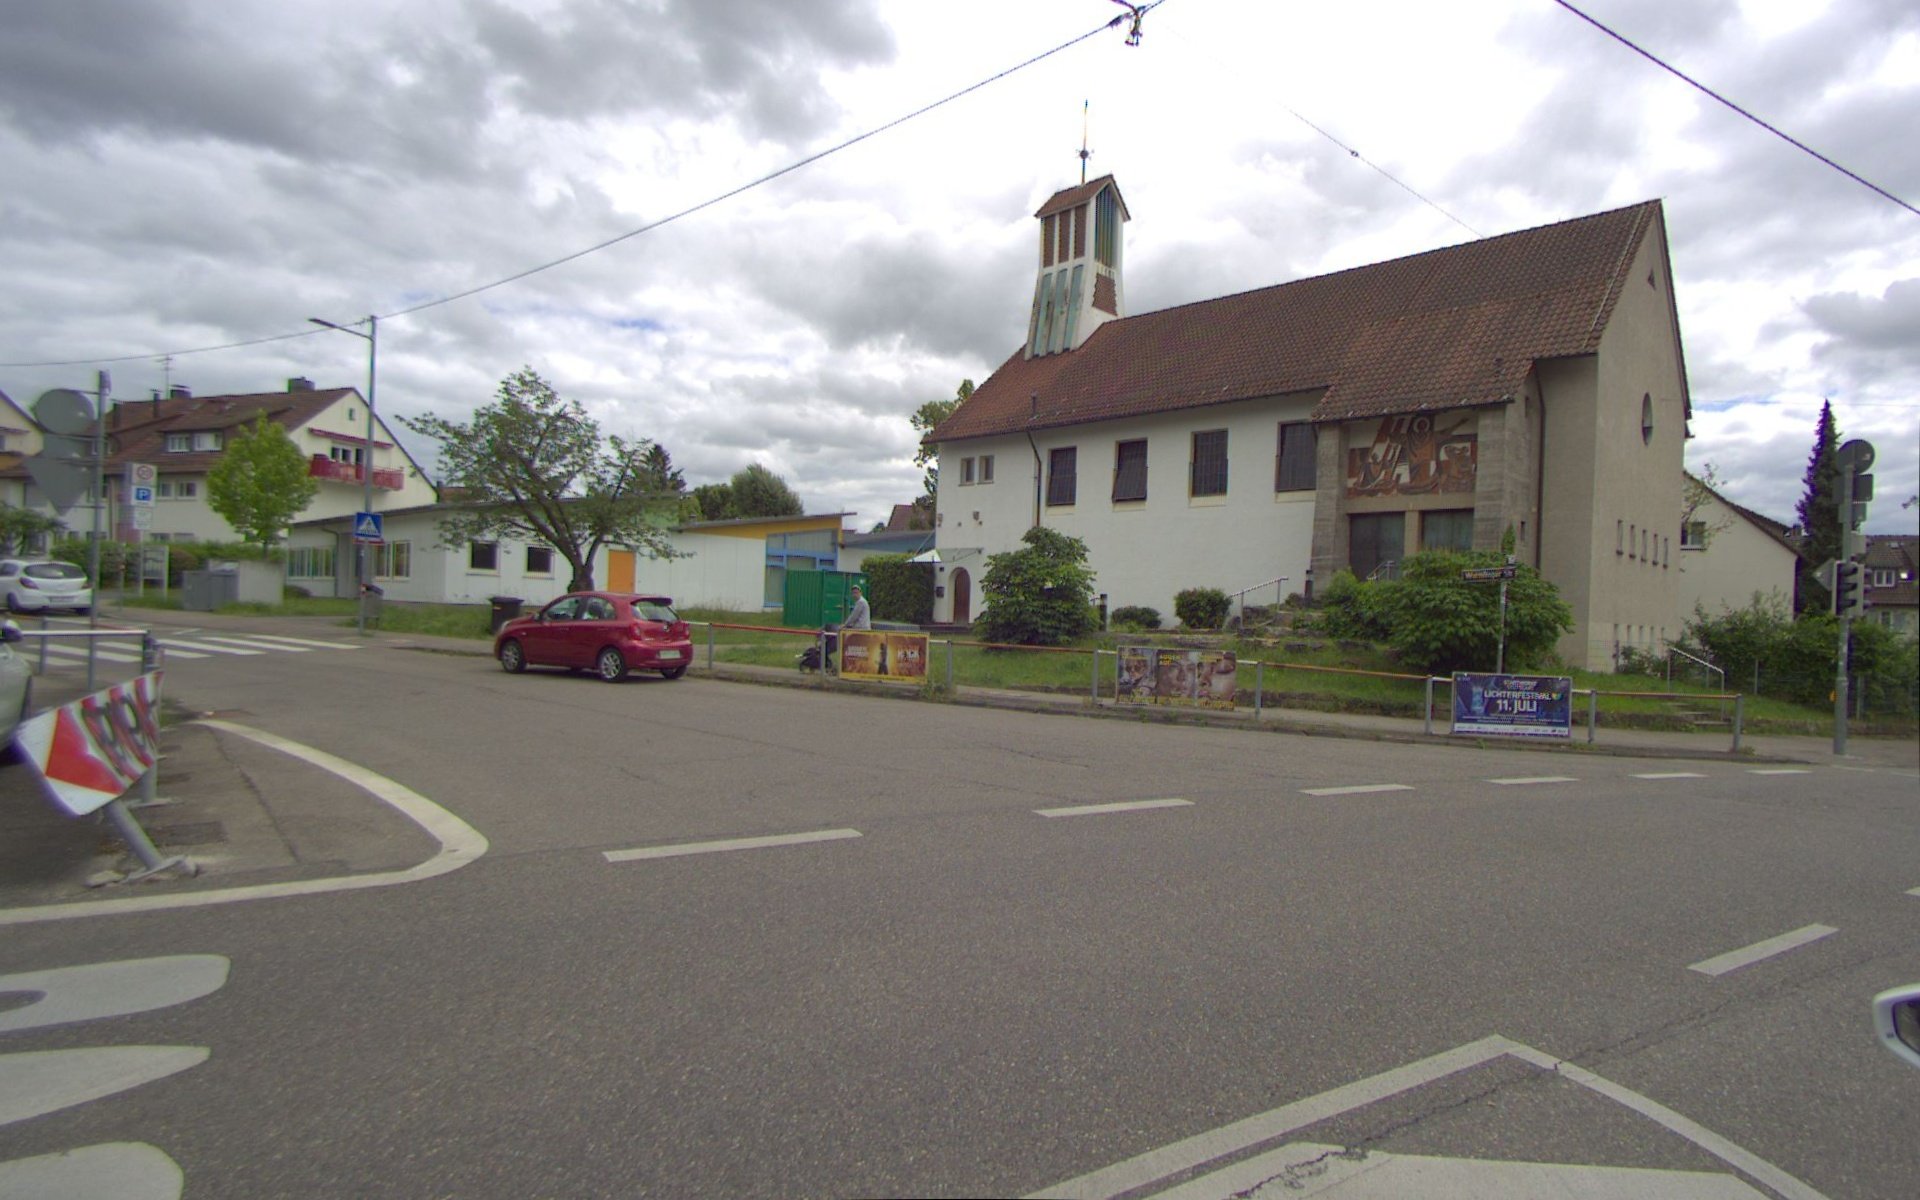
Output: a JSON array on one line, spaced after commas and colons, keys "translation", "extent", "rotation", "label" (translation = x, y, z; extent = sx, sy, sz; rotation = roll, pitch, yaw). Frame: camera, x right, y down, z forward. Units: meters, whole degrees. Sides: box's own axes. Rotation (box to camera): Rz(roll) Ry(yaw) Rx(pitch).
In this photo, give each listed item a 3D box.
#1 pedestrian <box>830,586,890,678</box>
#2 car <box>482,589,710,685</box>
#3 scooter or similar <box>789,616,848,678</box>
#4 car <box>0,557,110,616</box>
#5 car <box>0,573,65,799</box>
[{"translation": [-1.903, 0.602, 19.154], "extent": [0.815, 1.674, 0.689], "rotation": [4, 0, 21], "label": "pedestrian"}, {"translation": [-6.555, 0.634, 18.120], "extent": [3.614, 1.509, 1.774], "rotation": [2, -1, 24], "label": "car"}, {"translation": [-2.737, 0.909, 19.490], "extent": [0.872, 1.109, 0.612], "rotation": [4, 0, 21], "label": "scooter or similar"}, {"translation": [-25.481, -0.381, 27.654], "extent": [3.614, 1.509, 1.774], "rotation": [2, -1, 24], "label": "car"}, {"translation": [-7.647, 0.528, 6.906], "extent": [1.828, 1.491, 3.864], "rotation": [3, -1, -37], "label": "car"}]
